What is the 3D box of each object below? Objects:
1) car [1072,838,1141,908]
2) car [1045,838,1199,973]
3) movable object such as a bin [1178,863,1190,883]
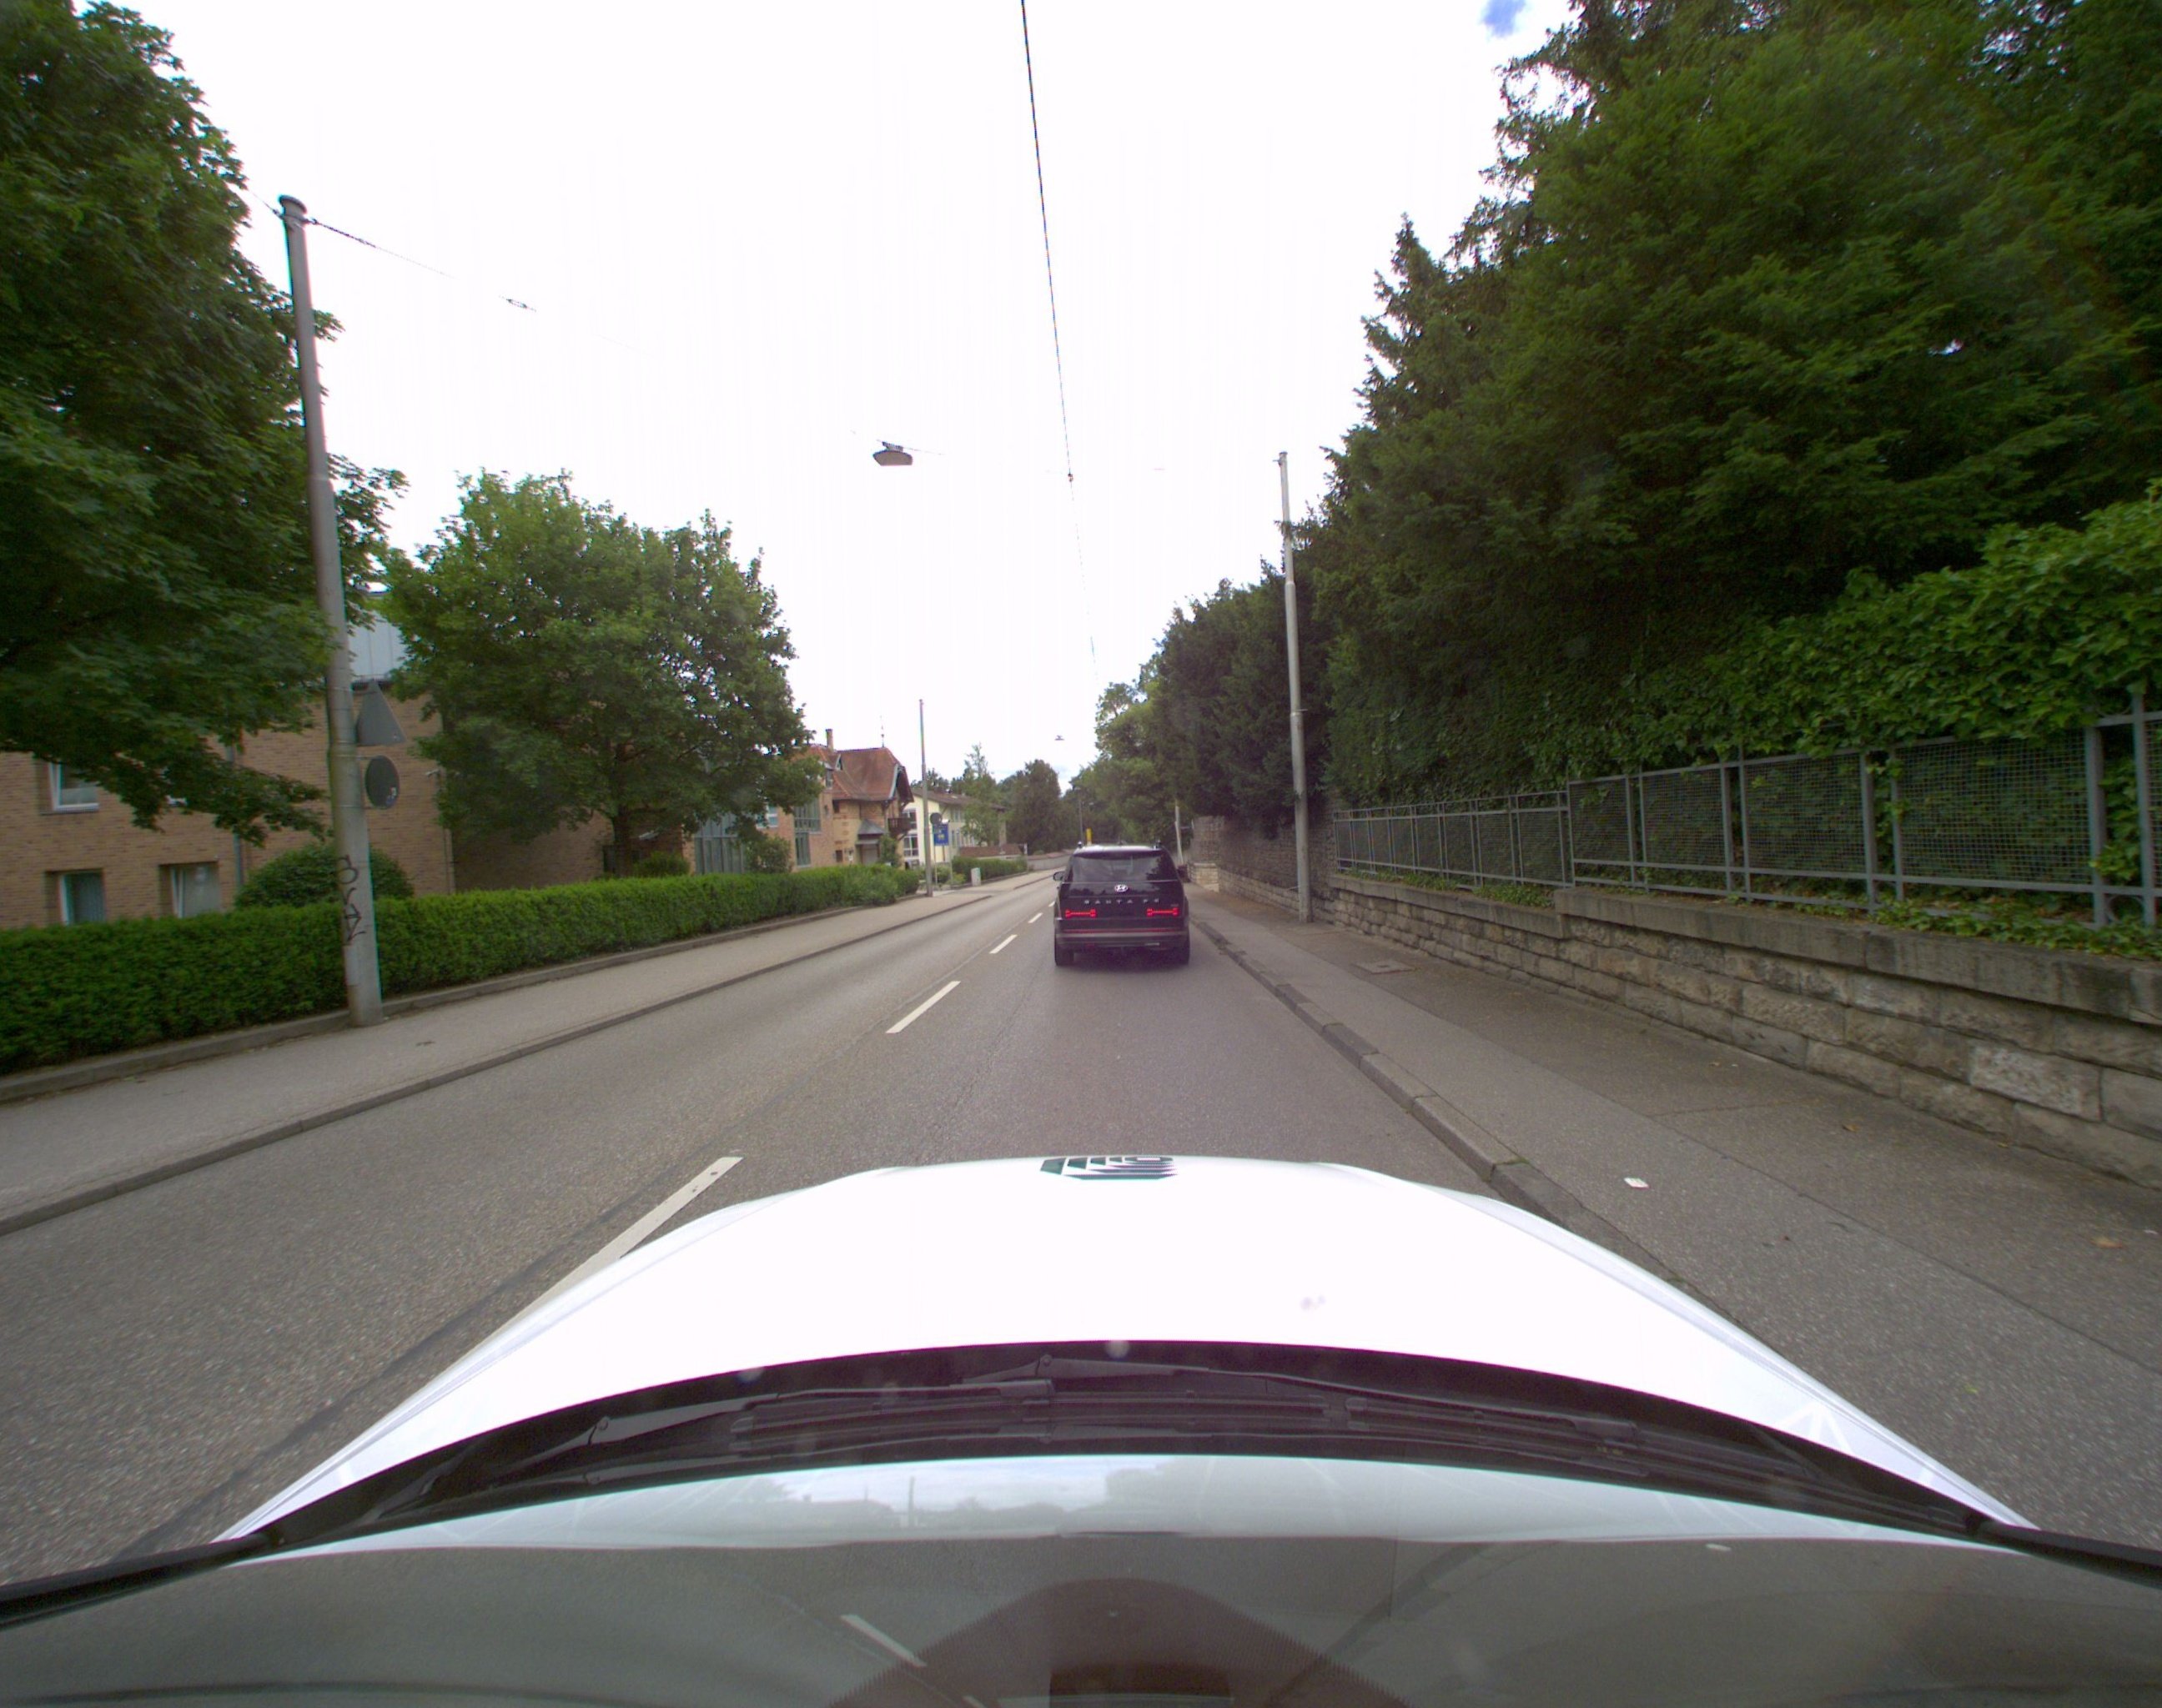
[{"bbox_3d":[0.700,0.507,25.200,1.951,1.955,4.222,-1,1,-1],"label":"car"},{"bbox_3d":[0.619,0.653,12.569,1.949,1.713,4.226,-1,0,3],"label":"car"},{"bbox_3d":[4.911,0.896,38.939,0.442,0.910,0.395,-7,-1,11],"label":"movable object such as a bin"}]
